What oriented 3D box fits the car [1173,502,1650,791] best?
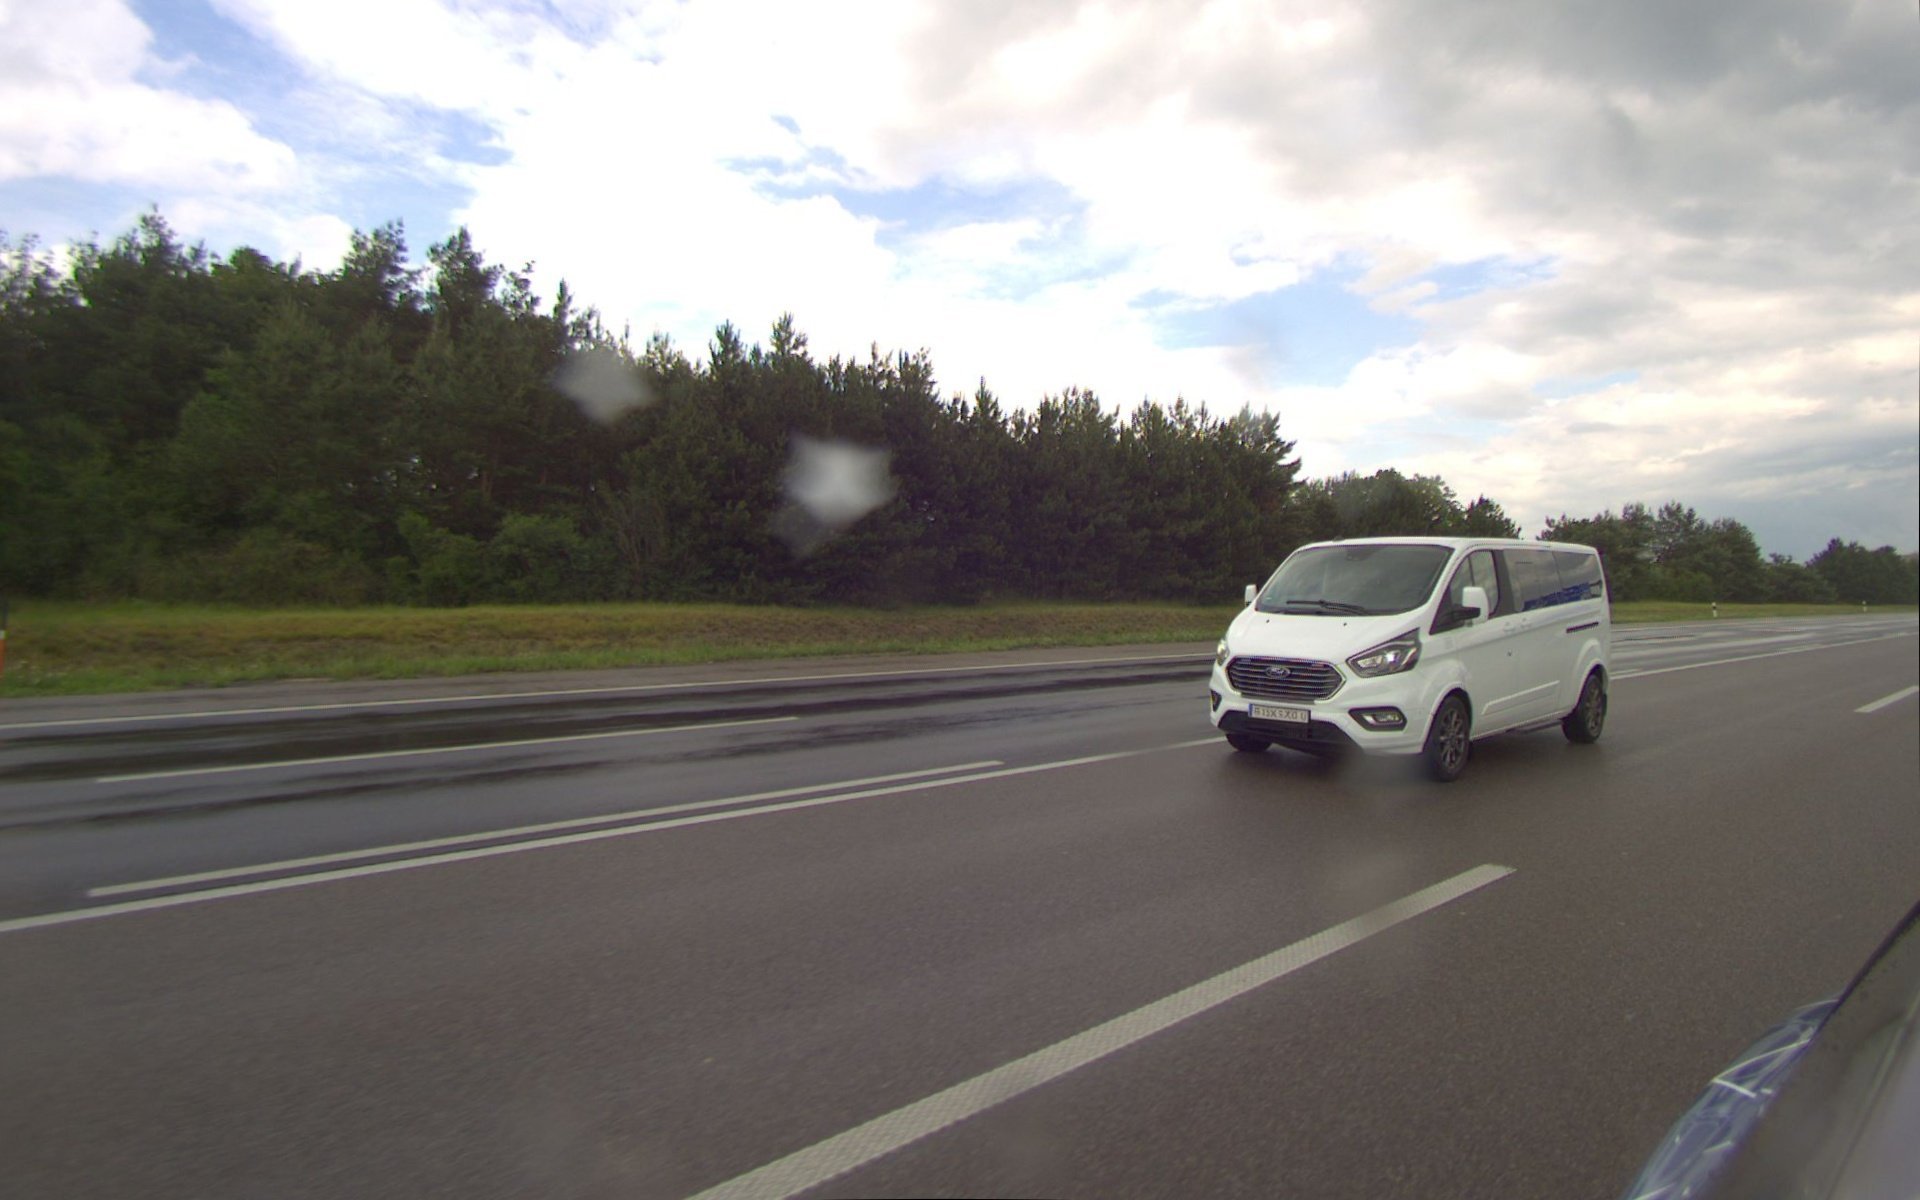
[{"bbox_3d":[4.533,0.310,9.656,5.385,2.039,1.998,0,1,-40],"label":"car"}]
